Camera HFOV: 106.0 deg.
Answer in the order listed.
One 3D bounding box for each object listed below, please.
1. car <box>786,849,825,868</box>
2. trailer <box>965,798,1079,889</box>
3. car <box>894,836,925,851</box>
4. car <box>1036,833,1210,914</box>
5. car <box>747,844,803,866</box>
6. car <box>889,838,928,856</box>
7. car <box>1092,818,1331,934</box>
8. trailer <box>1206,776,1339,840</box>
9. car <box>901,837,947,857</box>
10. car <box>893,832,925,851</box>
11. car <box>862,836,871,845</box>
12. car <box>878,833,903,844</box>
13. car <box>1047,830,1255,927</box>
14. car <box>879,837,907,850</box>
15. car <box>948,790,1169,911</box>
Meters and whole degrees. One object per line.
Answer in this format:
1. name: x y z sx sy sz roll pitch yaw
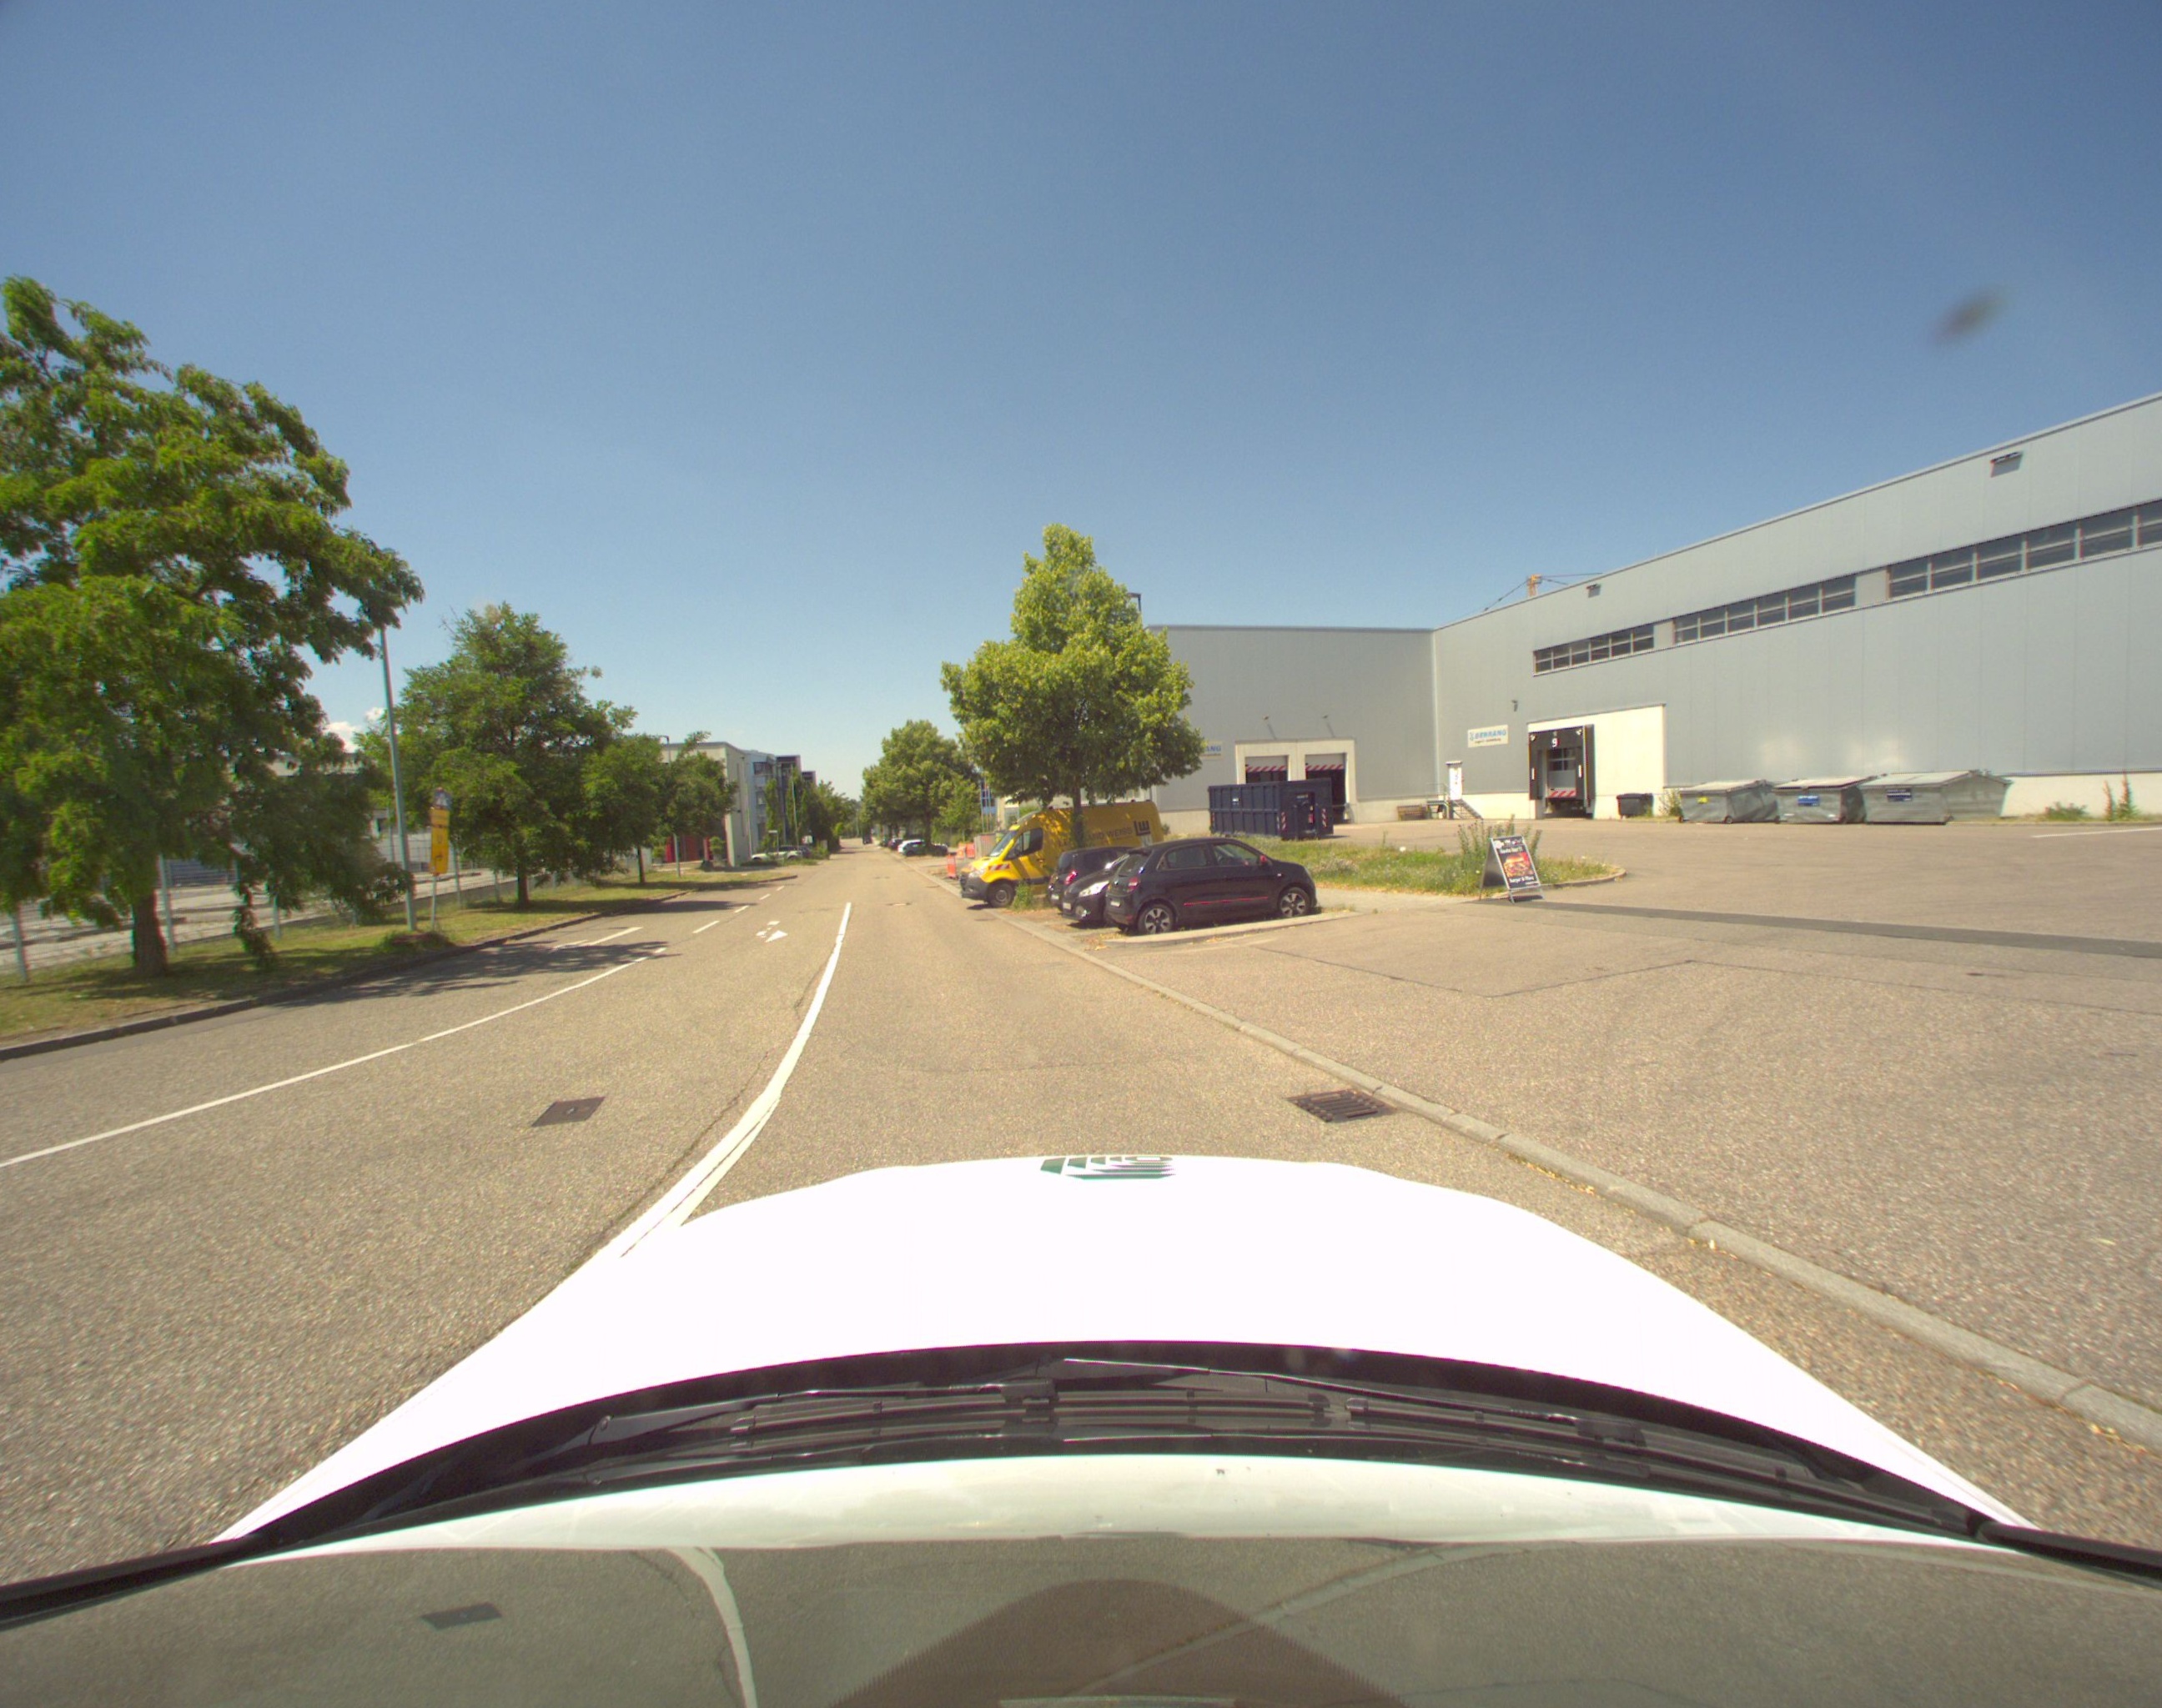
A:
1. car: -23.820 0.376 70.434 3.070 1.478 1.283 -4 2 -22
2. trailer: -2.360 -0.427 30.574 2.665 2.856 5.485 -7 3 -19
3. car: -22.057 -1.360 104.585 3.730 1.626 1.804 -4 2 -16
4. car: 0.944 0.398 18.870 3.612 1.478 1.618 -5 2 -18
5. car: -24.475 0.061 65.255 4.058 1.494 1.718 -4 2 -18
6. car: -17.507 -0.709 82.685 3.529 1.354 1.528 -8 3 -20
7. car: 2.230 0.316 14.149 3.668 1.462 1.619 -7 2 -16
8. trailer: 8.223 -2.136 36.060 2.662 2.419 7.384 -4 6 -13
9. car: -14.211 -0.637 73.664 3.692 1.354 1.634 -8 3 -20
10. car: -21.381 -1.548 101.353 3.730 2.110 1.804 -4 2 -16
11. car: -47.203 -3.008 178.917 1.764 1.755 3.925 -4 2 -14
12. car: -33.337 -2.713 142.288 3.949 1.577 1.754 -5 6 -23
13. car: 1.388 0.435 16.418 3.781 1.506 1.581 -5 2 -18
14. car: -30.187 -1.698 130.678 3.949 1.834 1.754 -5 6 -23
15. car: -0.639 -0.191 23.293 5.795 2.731 1.989 -6 3 -17
